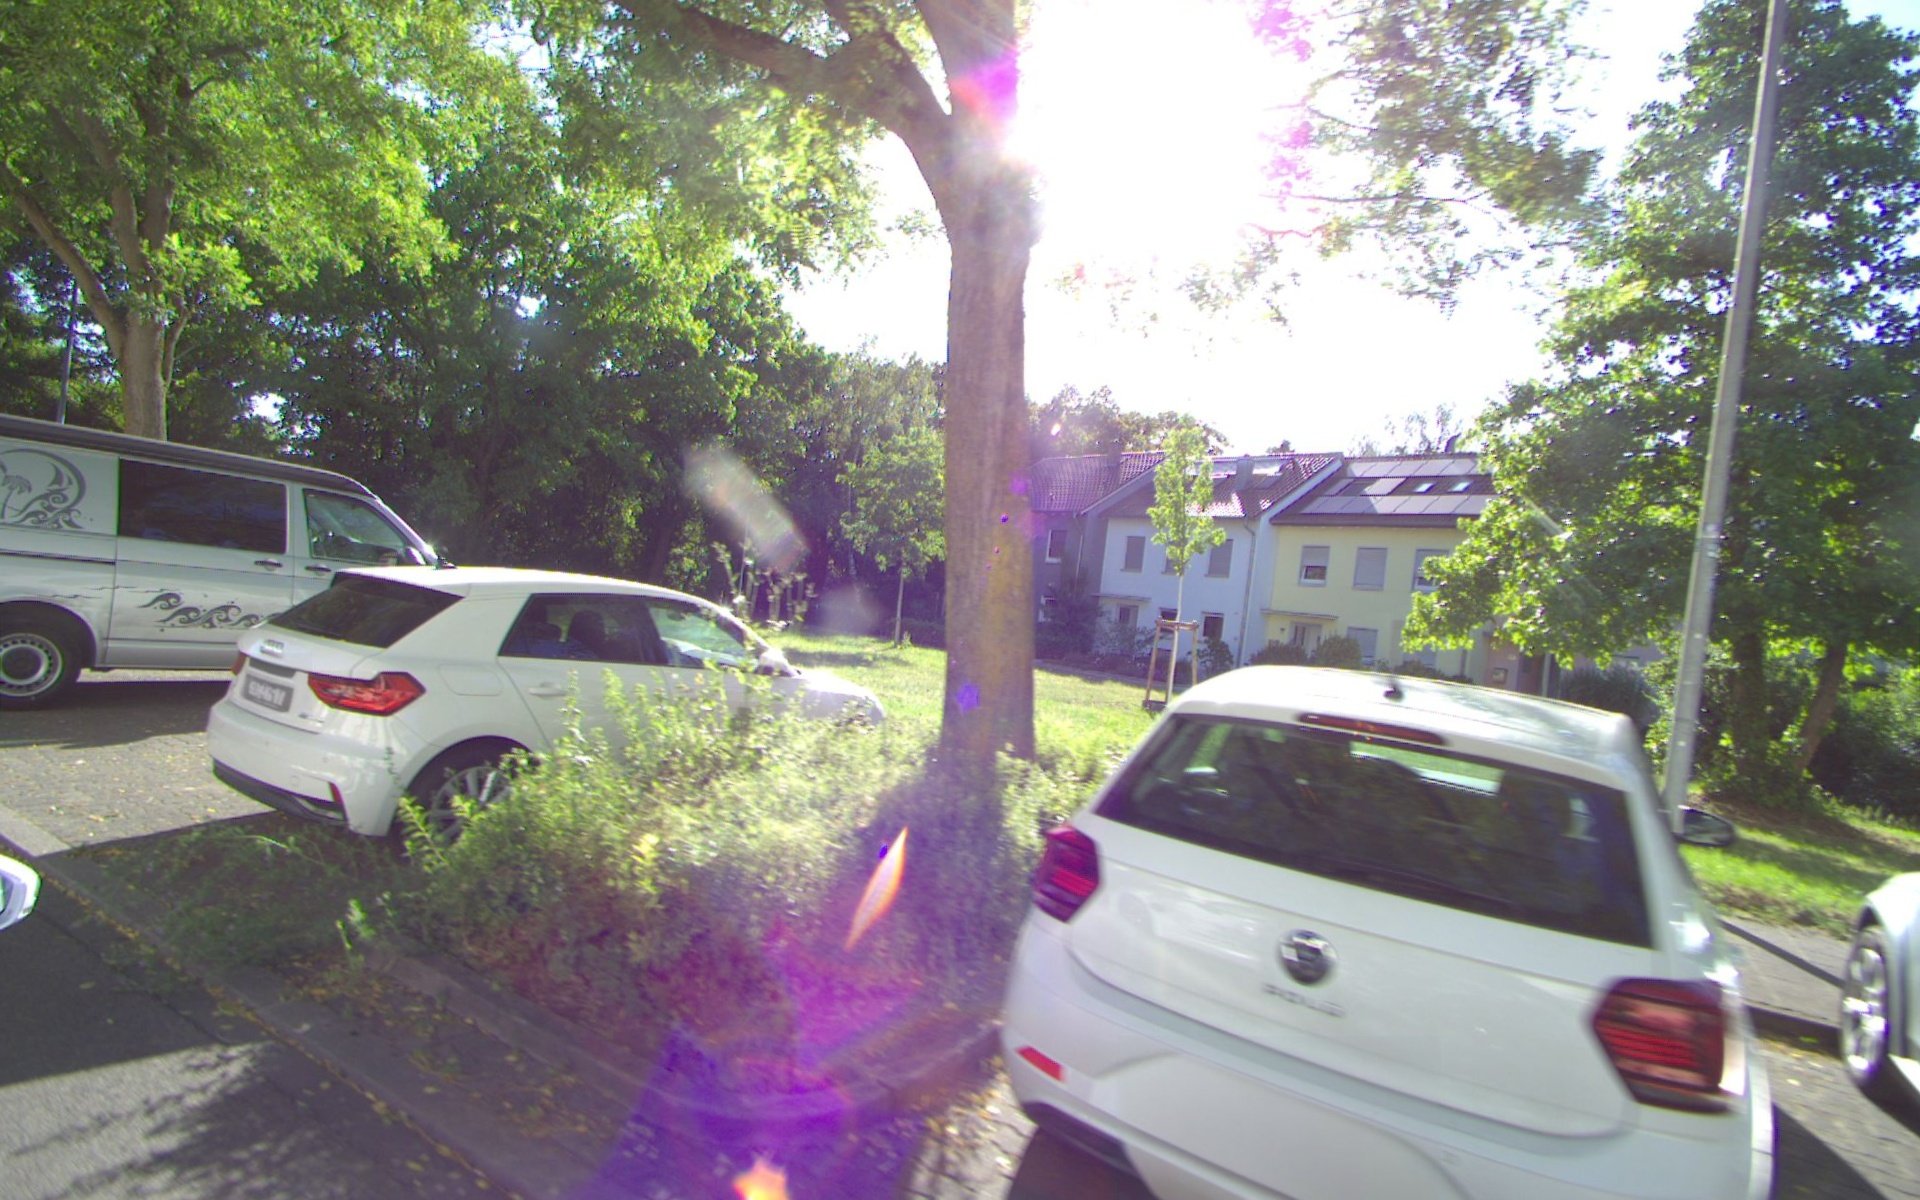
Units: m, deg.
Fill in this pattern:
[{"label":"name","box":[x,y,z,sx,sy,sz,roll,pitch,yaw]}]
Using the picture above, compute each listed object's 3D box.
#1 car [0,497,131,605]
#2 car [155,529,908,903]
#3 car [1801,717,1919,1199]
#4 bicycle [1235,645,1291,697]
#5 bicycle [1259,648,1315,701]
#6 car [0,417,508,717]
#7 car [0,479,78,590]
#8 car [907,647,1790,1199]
[{"label":"car","box":[-14.701,-0.856,14.043,1.745,1.432,4.455,7,0,32]},{"label":"car","box":[-2.228,0.576,6.188,1.611,1.453,3.907,7,0,36]},{"label":"car","box":[3.595,1.222,2.260,1.716,1.489,4.486,7,0,30]},{"label":"bicycle","box":[9.996,2.357,33.090,0.811,1.491,2.914,7,-2,34]},{"label":"bicycle","box":[10.472,2.407,32.132,0.811,1.460,2.914,7,-2,34]},{"label":"car","box":[-6.571,-0.230,8.589,1.988,2.042,4.453,7,1,33]},{"label":"car","box":[-16.771,-1.239,15.706,1.747,1.716,4.149,7,0,35]},{"label":"car","box":[1.656,1.008,3.736,1.609,1.454,3.908,7,1,33]}]
